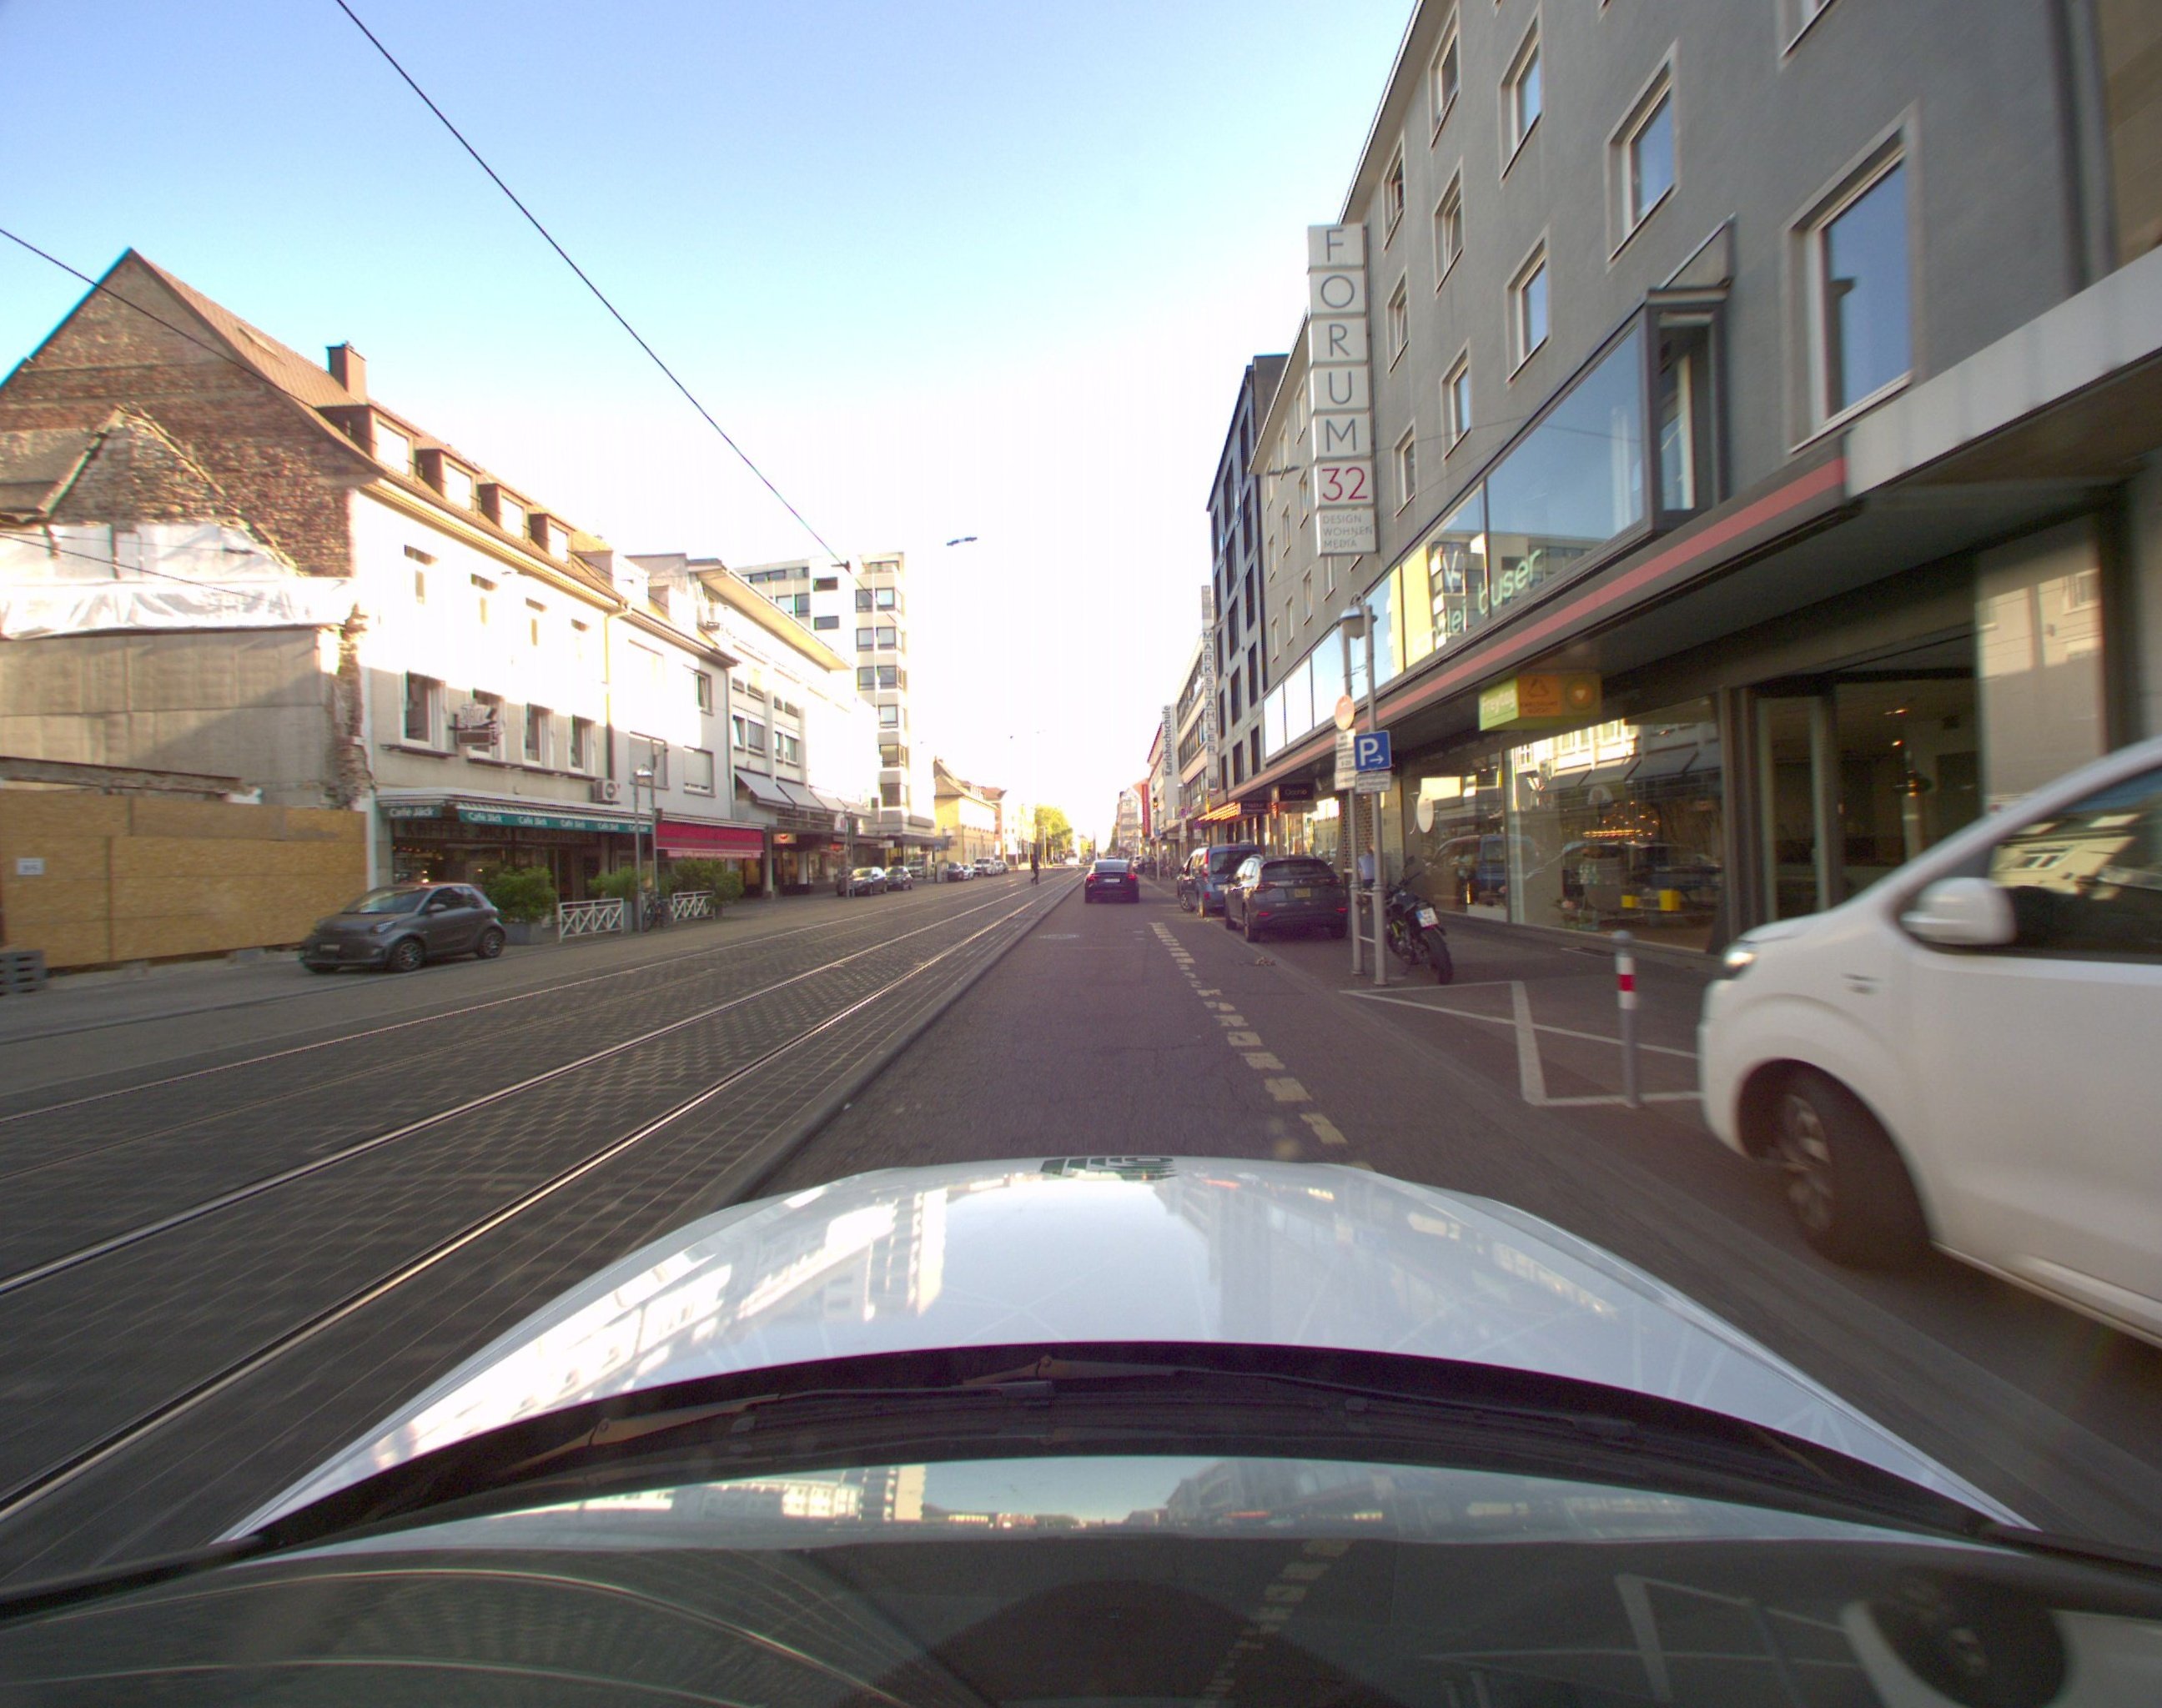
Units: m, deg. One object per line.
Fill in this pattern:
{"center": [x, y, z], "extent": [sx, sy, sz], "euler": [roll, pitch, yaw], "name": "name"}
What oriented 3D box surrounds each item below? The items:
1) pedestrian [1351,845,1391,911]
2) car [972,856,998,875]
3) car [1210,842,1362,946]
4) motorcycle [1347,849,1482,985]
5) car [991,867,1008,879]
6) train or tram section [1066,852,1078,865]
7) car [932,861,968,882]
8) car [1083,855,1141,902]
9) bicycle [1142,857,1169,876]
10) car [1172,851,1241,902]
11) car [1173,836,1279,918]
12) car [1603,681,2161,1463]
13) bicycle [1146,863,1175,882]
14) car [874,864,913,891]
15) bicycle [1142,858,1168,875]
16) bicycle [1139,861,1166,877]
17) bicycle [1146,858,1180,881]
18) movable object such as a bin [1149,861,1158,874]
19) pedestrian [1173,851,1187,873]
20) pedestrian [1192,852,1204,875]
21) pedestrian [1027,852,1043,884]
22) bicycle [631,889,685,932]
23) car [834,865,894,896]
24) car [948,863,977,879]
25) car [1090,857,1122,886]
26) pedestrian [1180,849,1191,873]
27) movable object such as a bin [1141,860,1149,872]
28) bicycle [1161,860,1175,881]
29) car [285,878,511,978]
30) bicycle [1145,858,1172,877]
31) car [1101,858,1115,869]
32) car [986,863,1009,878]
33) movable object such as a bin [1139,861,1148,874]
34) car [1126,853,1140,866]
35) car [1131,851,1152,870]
{"center": [6.631, 0.545, 18.622], "extent": [0.573, 1.439, 0.731], "euler": [-4, -1, 1], "name": "pedestrian"}
{"center": [-10.125, 1.211, 86.476], "extent": [1.986, 1.975, 5.098], "euler": [0, -1, 1], "name": "car"}
{"center": [3.681, 0.677, 15.424], "extent": [1.757, 1.577, 4.288], "euler": [-4, -1, 1], "name": "car"}
{"center": [3.979, 0.689, 9.952], "extent": [0.657, 1.432, 2.323], "euler": [-3, -1, 1], "name": "motorcycle"}
{"center": [-9.754, 2.267, 97.961], "extent": [1.608, 1.400, 3.721], "euler": [0, -1, 1], "name": "car"}
{"center": [-2.498, 1.293, 231.498], "extent": [2.663, 3.715, 14.200], "euler": [0, 0, 2], "name": "train or tram section"}
{"center": [-10.795, 1.404, 67.423], "extent": [1.971, 1.678, 4.657], "euler": [0, -1, 2], "name": "car"}
{"center": [1.035, 0.813, 28.271], "extent": [1.842, 1.484, 3.787], "euler": [-1, -1, 1], "name": "car"}
{"center": [5.290, 0.902, 57.949], "extent": [1.781, 1.217, 0.669], "euler": [-3, 0, 1], "name": "bicycle"}
{"center": [4.209, 0.722, 27.853], "extent": [1.715, 1.484, 4.418], "euler": [-4, -1, 2], "name": "car"}
{"center": [3.710, 0.565, 21.647], "extent": [1.811, 1.860, 4.547], "euler": [-3, -1, -2], "name": "car"}
{"center": [3.640, 0.488, 1.550], "extent": [2.040, 1.910, 4.876], "euler": [-3, -1, -1], "name": "car"}
{"center": [5.223, 1.188, 53.300], "extent": [1.770, 1.130, 0.478], "euler": [-3, 0, -4], "name": "bicycle"}
{"center": [-11.363, 1.397, 49.601], "extent": [1.596, 1.523, 3.588], "euler": [0, -1, -1], "name": "car"}
{"center": [5.343, 0.910, 58.961], "extent": [1.781, 1.159, 0.669], "euler": [-3, 0, 1], "name": "bicycle"}
{"center": [4.896, 1.031, 55.621], "extent": [1.767, 1.032, 0.597], "euler": [-3, 0, 1], "name": "bicycle"}
{"center": [5.308, 0.999, 52.507], "extent": [2.035, 1.274, 0.523], "euler": [-5, 0, -8], "name": "bicycle"}
{"center": [6.292, 1.200, 70.735], "extent": [0.687, 1.089, 0.666], "euler": [-3, -1, 5], "name": "movable object such as a bin"}
{"center": [6.912, 0.539, 56.896], "extent": [0.585, 1.486, 0.591], "euler": [-4, -1, -29], "name": "pedestrian"}
{"center": [7.717, 0.638, 53.610], "extent": [0.581, 1.493, 0.524], "euler": [-4, -1, -7], "name": "pedestrian"}
{"center": [-2.735, 0.817, 48.157], "extent": [0.801, 1.837, 0.746], "euler": [-4, -1, 0], "name": "pedestrian"}
{"center": [-11.681, 1.534, 22.548], "extent": [0.516, 1.090, 1.717], "euler": [0, -1, 2], "name": "bicycle"}
{"center": [-11.656, 1.387, 44.015], "extent": [1.730, 1.523, 4.854], "euler": [0, -1, 2], "name": "car"}
{"center": [-10.612, 1.520, 73.295], "extent": [1.882, 1.421, 4.656], "euler": [0, -1, 1], "name": "car"}
{"center": [1.370, 0.913, 43.481], "extent": [1.647, 1.418, 4.003], "euler": [0, 0, 3], "name": "car"}
{"center": [7.145, 0.474, 55.898], "extent": [0.579, 1.585, 0.598], "euler": [-4, -1, 0], "name": "pedestrian"}
{"center": [5.619, 1.072, 71.677], "extent": [0.683, 1.014, 0.509], "euler": [-3, -1, 4], "name": "movable object such as a bin"}
{"center": [5.460, 1.019, 51.216], "extent": [0.579, 1.257, 1.602], "euler": [-4, -1, 0], "name": "bicycle"}
{"center": [-12.482, 1.279, 15.114], "extent": [1.690, 1.604, 2.892], "euler": [-1, -1, 2], "name": "car"}
{"center": [5.402, 0.923, 56.983], "extent": [1.781, 1.217, 0.587], "euler": [-3, 0, 1], "name": "bicycle"}
{"center": [3.685, 1.265, 112.293], "extent": [1.778, 1.519, 4.216], "euler": [0, -1, -1], "name": "car"}
{"center": [-9.440, 1.855, 92.188], "extent": [1.799, 1.686, 4.654], "euler": [0, -1, 4], "name": "car"}
{"center": [5.434, 1.155, 70.819], "extent": [0.687, 1.089, 0.686], "euler": [-3, -1, 5], "name": "movable object such as a bin"}
{"center": [7.088, 0.760, 110.436], "extent": [1.738, 1.632, 3.651], "euler": [-3, 0, 2], "name": "car"}
{"center": [6.112, 0.696, 82.915], "extent": [1.843, 1.724, 5.194], "euler": [-4, -1, 1], "name": "car"}
